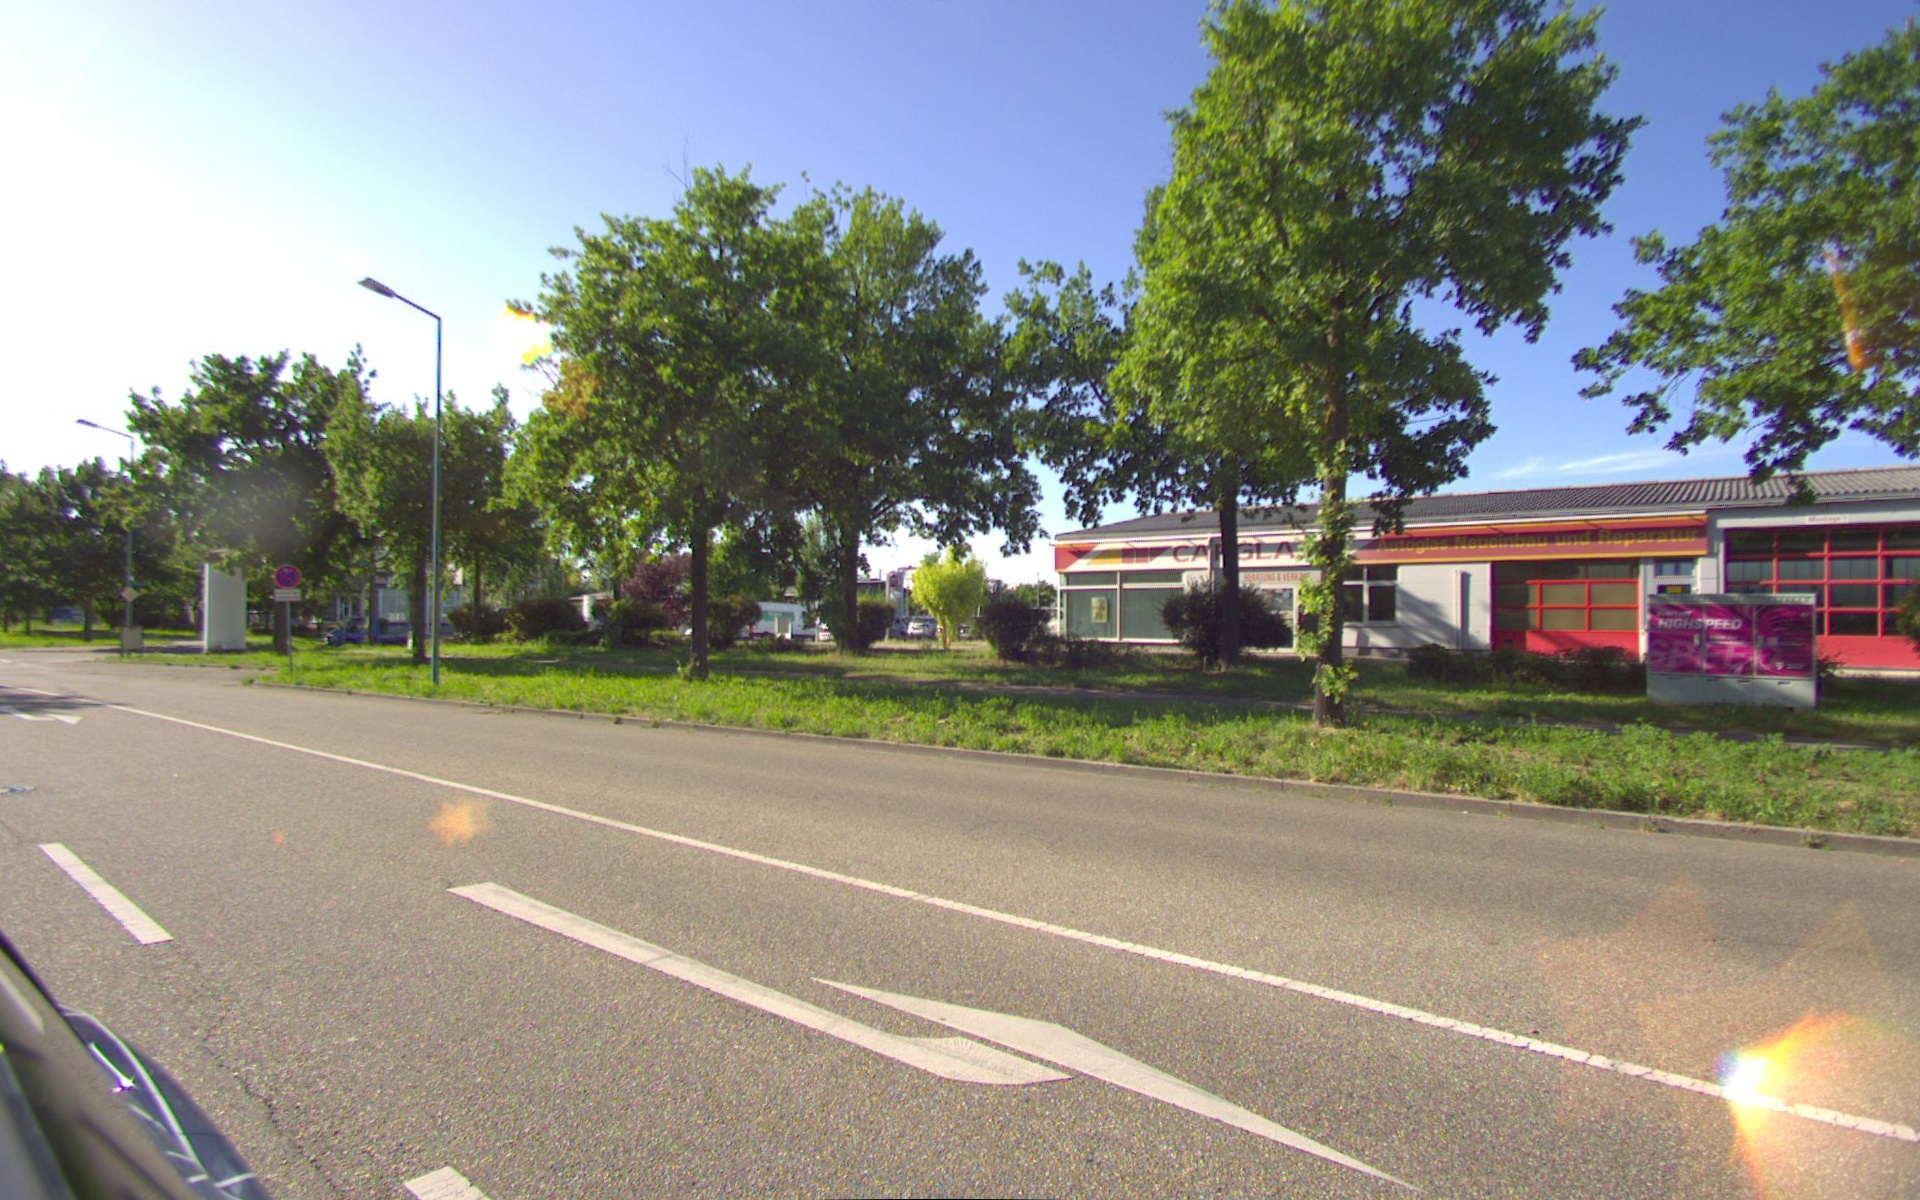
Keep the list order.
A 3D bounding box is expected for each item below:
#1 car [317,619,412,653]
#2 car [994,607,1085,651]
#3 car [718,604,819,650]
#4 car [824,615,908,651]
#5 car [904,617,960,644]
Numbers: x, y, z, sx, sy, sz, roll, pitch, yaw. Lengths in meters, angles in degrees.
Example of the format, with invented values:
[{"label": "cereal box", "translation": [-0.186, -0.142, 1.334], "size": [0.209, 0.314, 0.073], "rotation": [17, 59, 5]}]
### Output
[{"label": "car", "translation": [-35.967, 2.147, 61.230], "size": [1.999, 1.847, 4.578], "rotation": [-1, 0, 41]}, {"label": "car", "translation": [3.216, 1.147, 40.599], "size": [1.734, 1.583, 3.769], "rotation": [-3, -1, 40]}, {"label": "car", "translation": [-11.448, 1.587, 60.995], "size": [2.406, 2.574, 5.952], "rotation": [-1, 0, 36]}, {"label": "car", "translation": [-5.142, 1.757, 55.784], "size": [1.989, 1.795, 4.583], "rotation": [-1, 0, 40]}, {"label": "car", "translation": [-1.867, 2.037, 68.618], "size": [1.761, 1.684, 3.811], "rotation": [-1, 0, 40]}]
